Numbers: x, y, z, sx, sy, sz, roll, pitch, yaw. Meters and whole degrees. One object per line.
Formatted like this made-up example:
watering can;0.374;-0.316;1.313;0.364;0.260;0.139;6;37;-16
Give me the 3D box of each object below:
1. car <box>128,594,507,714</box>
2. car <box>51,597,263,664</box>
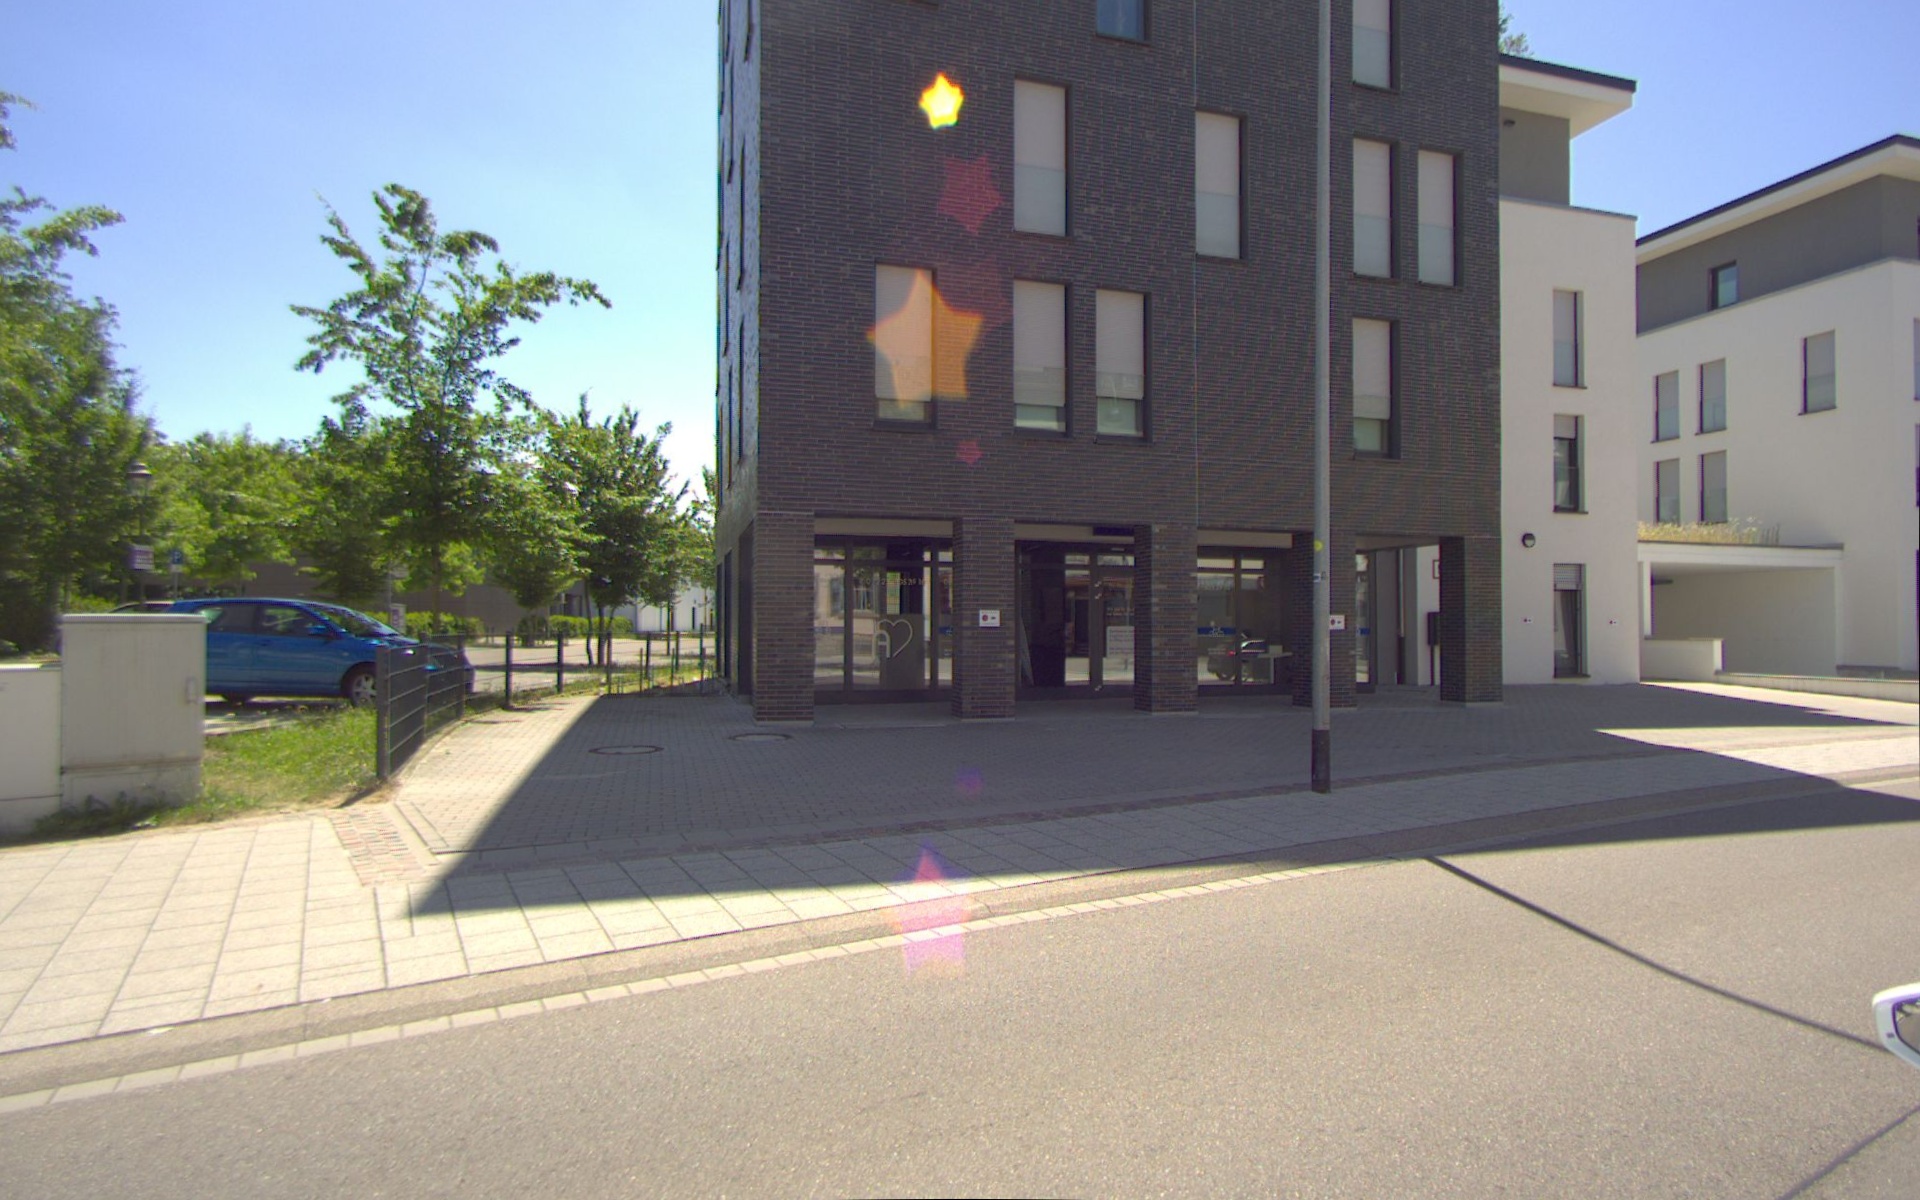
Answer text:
car;-8.601;0.713;13.747;4.002;1.506;1.699;1;-1;-4
car;-19.171;0.717;24.092;3.693;1.511;1.691;1;-1;-1
